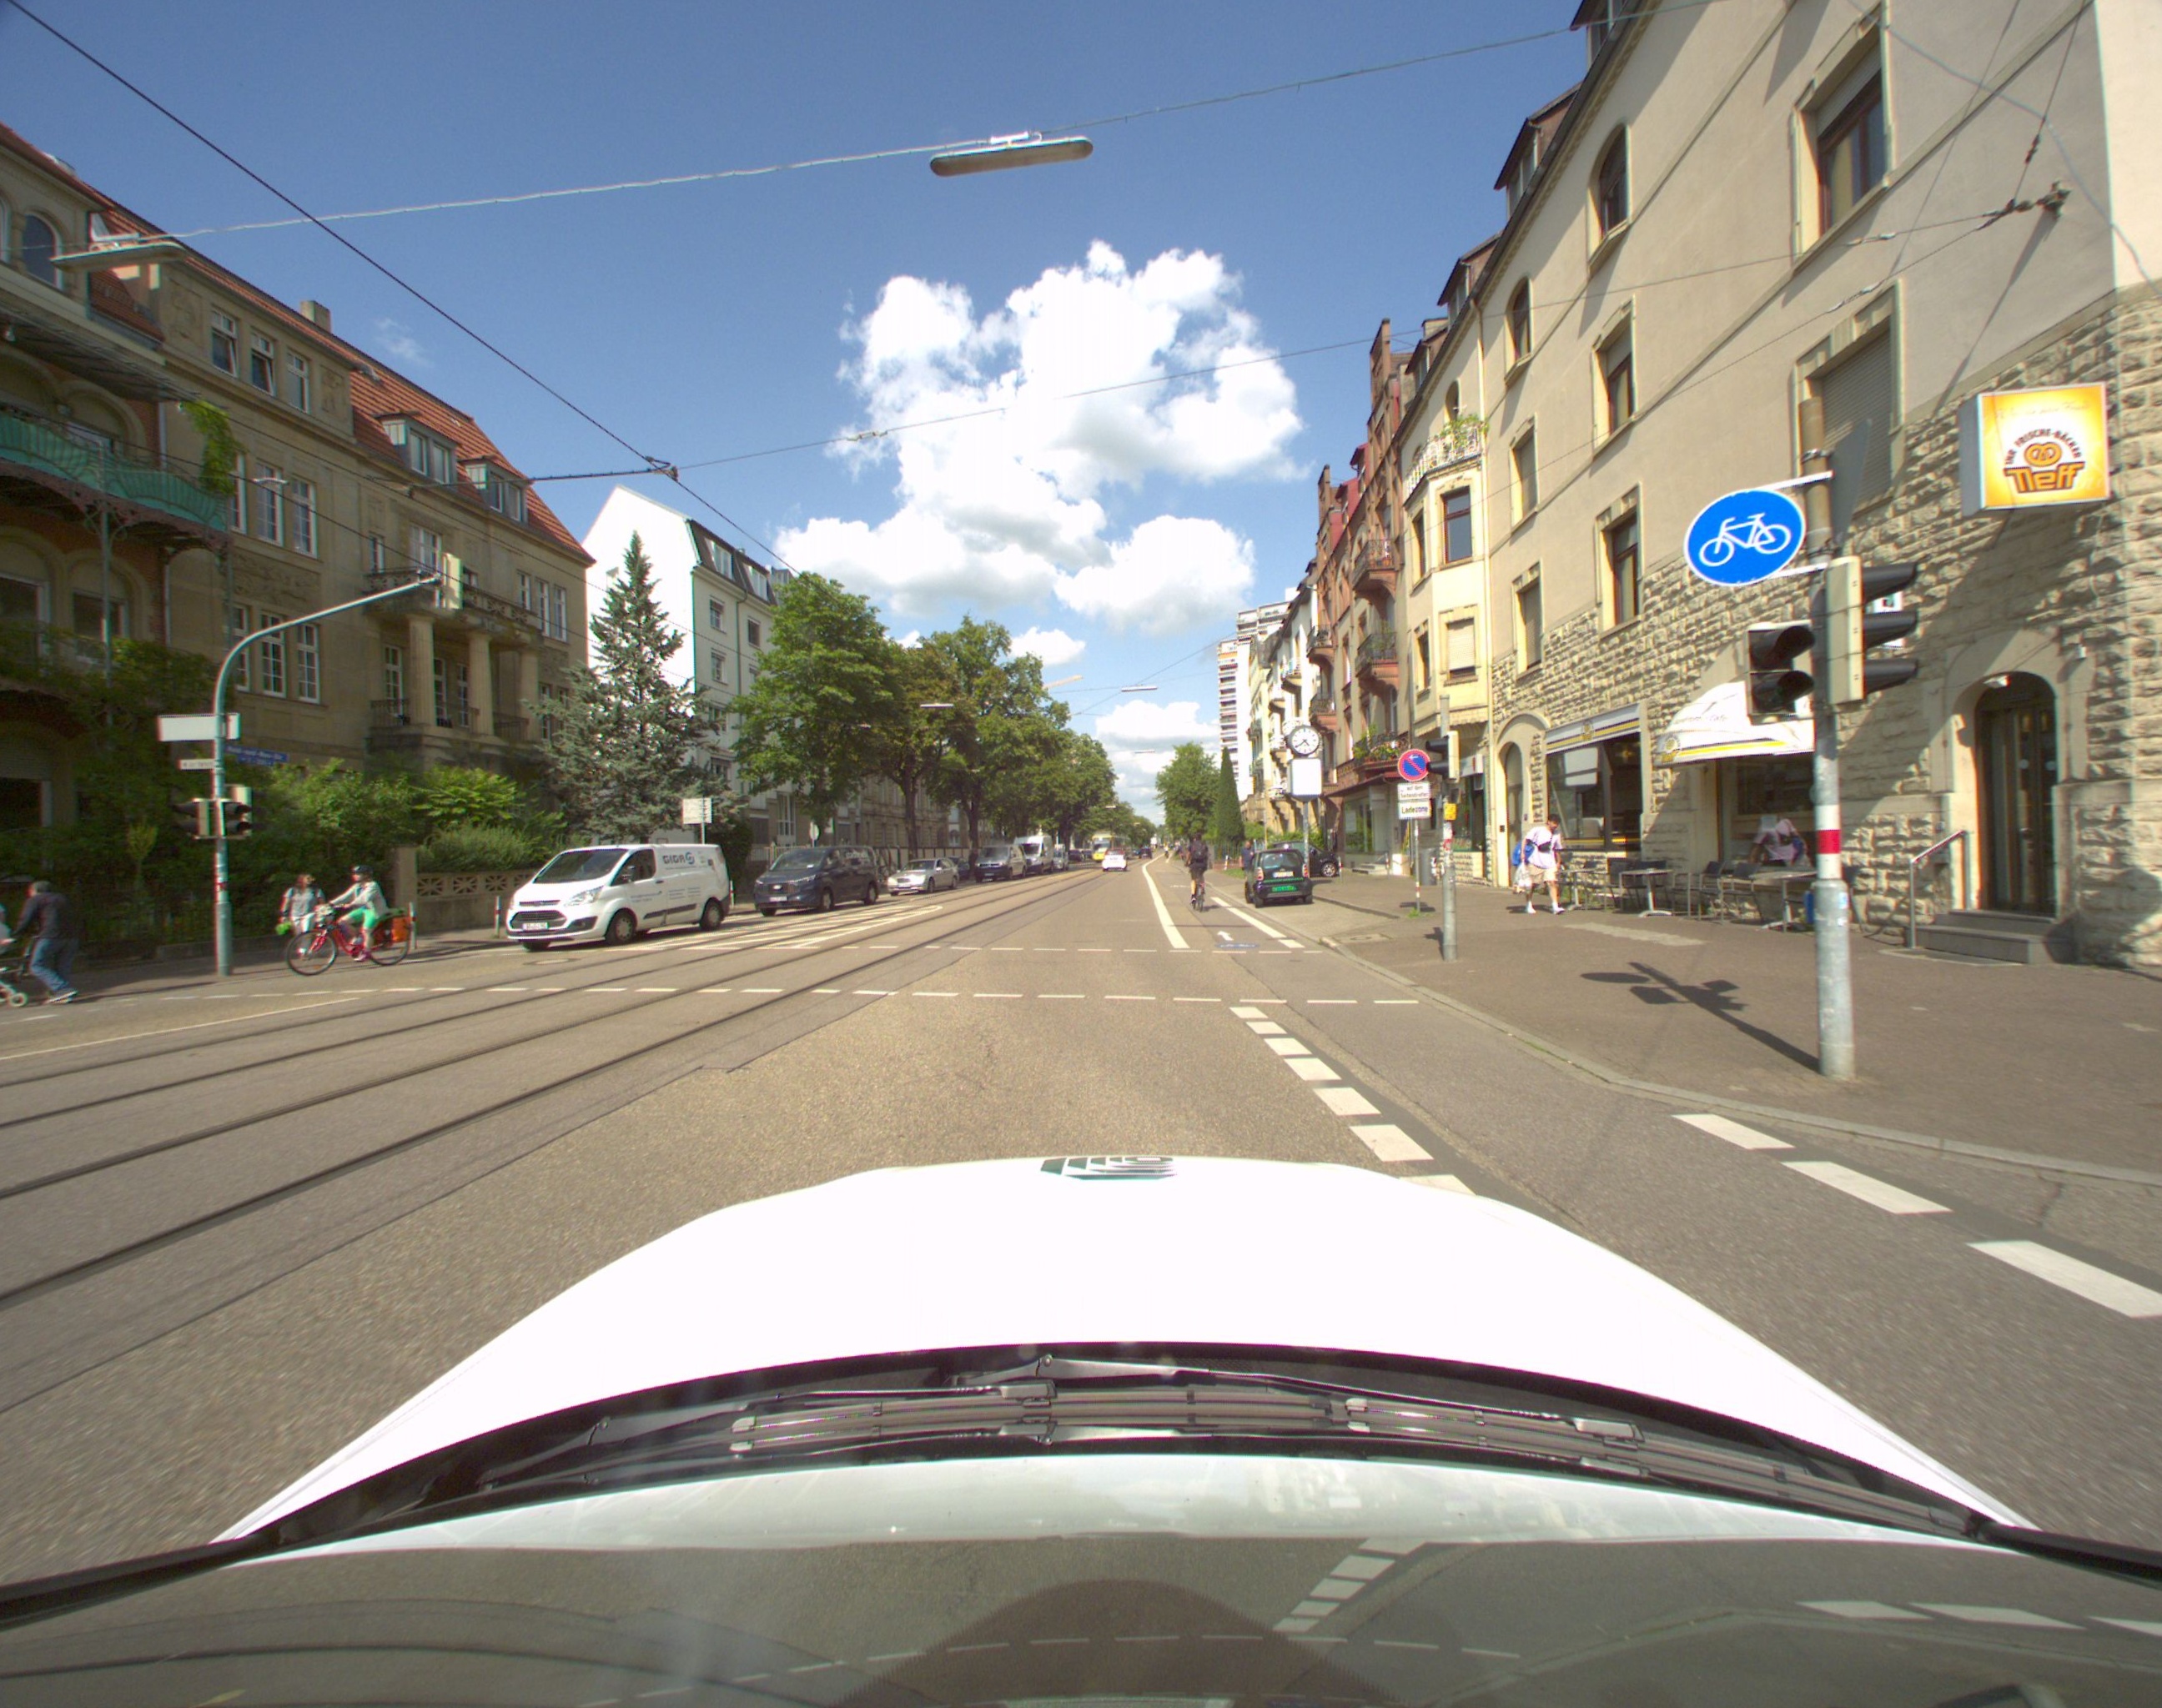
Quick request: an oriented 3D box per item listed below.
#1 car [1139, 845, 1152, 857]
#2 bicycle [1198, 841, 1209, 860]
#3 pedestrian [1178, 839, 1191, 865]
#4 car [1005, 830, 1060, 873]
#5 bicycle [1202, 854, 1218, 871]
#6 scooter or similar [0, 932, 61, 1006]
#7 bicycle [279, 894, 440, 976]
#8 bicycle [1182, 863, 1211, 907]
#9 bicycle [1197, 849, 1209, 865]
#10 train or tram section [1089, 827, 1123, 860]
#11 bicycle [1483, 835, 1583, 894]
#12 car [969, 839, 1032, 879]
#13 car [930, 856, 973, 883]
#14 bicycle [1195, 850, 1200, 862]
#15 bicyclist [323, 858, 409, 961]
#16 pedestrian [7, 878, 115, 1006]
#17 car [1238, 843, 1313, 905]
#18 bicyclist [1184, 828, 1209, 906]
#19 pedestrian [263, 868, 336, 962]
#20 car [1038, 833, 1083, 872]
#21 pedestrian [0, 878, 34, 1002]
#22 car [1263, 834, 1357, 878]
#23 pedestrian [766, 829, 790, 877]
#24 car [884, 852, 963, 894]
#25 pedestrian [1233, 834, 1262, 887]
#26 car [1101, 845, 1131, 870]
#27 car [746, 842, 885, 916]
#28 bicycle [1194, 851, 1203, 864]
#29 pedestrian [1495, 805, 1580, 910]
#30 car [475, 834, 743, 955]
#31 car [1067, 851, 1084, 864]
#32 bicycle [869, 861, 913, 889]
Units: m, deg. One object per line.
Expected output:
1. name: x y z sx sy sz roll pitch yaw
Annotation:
1. car: 8.994 -0.416 113.577 1.657 1.624 3.627 -2 0 6
2. bicycle: 8.265 -0.236 55.001 0.449 1.261 1.846 -4 0 4
3. pedestrian: 7.368 -0.135 57.802 0.785 1.861 0.580 -2 -1 -1
4. car: -2.974 -0.200 51.659 2.303 2.507 6.377 -2 1 7
5. bicycle: 8.015 0.497 50.743 0.596 0.961 3.069 -5 0 4
6. scooter or similar: -14.244 1.530 10.895 0.547 0.922 0.499 0 -1 -8
7. bicycle: -12.028 1.311 13.688 0.841 1.160 1.958 1 0 5
8. bicycle: 2.984 0.813 21.146 0.612 1.045 1.839 -5 -3 6
9. bicycle: 9.498 0.229 63.396 0.736 1.231 2.520 -2 0 6
10. train or tram section: 3.001 -1.090 94.720 2.639 3.436 12.338 -4 -1 7
11. bicycle: 9.768 0.217 17.761 0.801 1.177 2.755 0 0 4
12. car: -4.279 0.264 44.097 1.974 1.963 5.194 -2 0 10
13. car: -7.789 0.908 49.371 1.541 1.519 4.092 0 0 6
14. bicycle: 11.166 0.184 78.026 0.278 1.109 2.014 -5 -1 7
15. bicyclist: -12.076 0.911 13.774 0.834 1.696 0.673 0 -1 4
16. pedestrian: -13.798 1.159 11.039 0.519 1.657 0.750 0 -1 -7
17. car: 5.342 0.521 22.642 1.507 1.498 2.797 -4 0 4
18. bicyclist: 2.977 0.332 21.091 0.604 1.948 1.132 0 0 6
19. pedestrian: -14.266 1.084 14.871 0.515 1.657 0.821 0 -1 26
20. car: -1.336 -0.137 57.131 2.305 2.507 6.373 -2 0 5
21. pedestrian: -14.936 1.168 11.006 0.610 1.657 0.724 0 1 -7
22. car: 9.286 0.074 33.253 3.382 1.523 1.977 -4 0 8
23. pedestrian: -12.918 -0.045 34.706 0.479 2.014 0.810 0 -1 39
24. car: -6.416 0.731 33.617 1.683 1.480 4.493 -3 0 9
25. pedestrian: 5.973 0.228 29.230 0.657 1.841 0.873 -6 0 -2
26. car: 2.391 0.235 54.804 1.656 1.624 3.629 0 0 8
27. car: -7.872 0.690 24.793 1.917 1.917 5.134 -3 -1 7
28. bicycle: 9.651 0.300 66.875 0.607 0.996 2.366 -5 -1 6
29. pedestrian: 8.140 0.060 14.570 1.005 1.768 0.851 -4 0 7
30. car: -9.382 0.714 16.873 1.983 1.995 5.099 -5 -1 7
31. car: -0.697 0.461 109.606 1.741 1.665 4.728 0 0 6
32. bicycle: -9.466 1.033 40.563 2.065 1.309 0.614 0 0 -35
